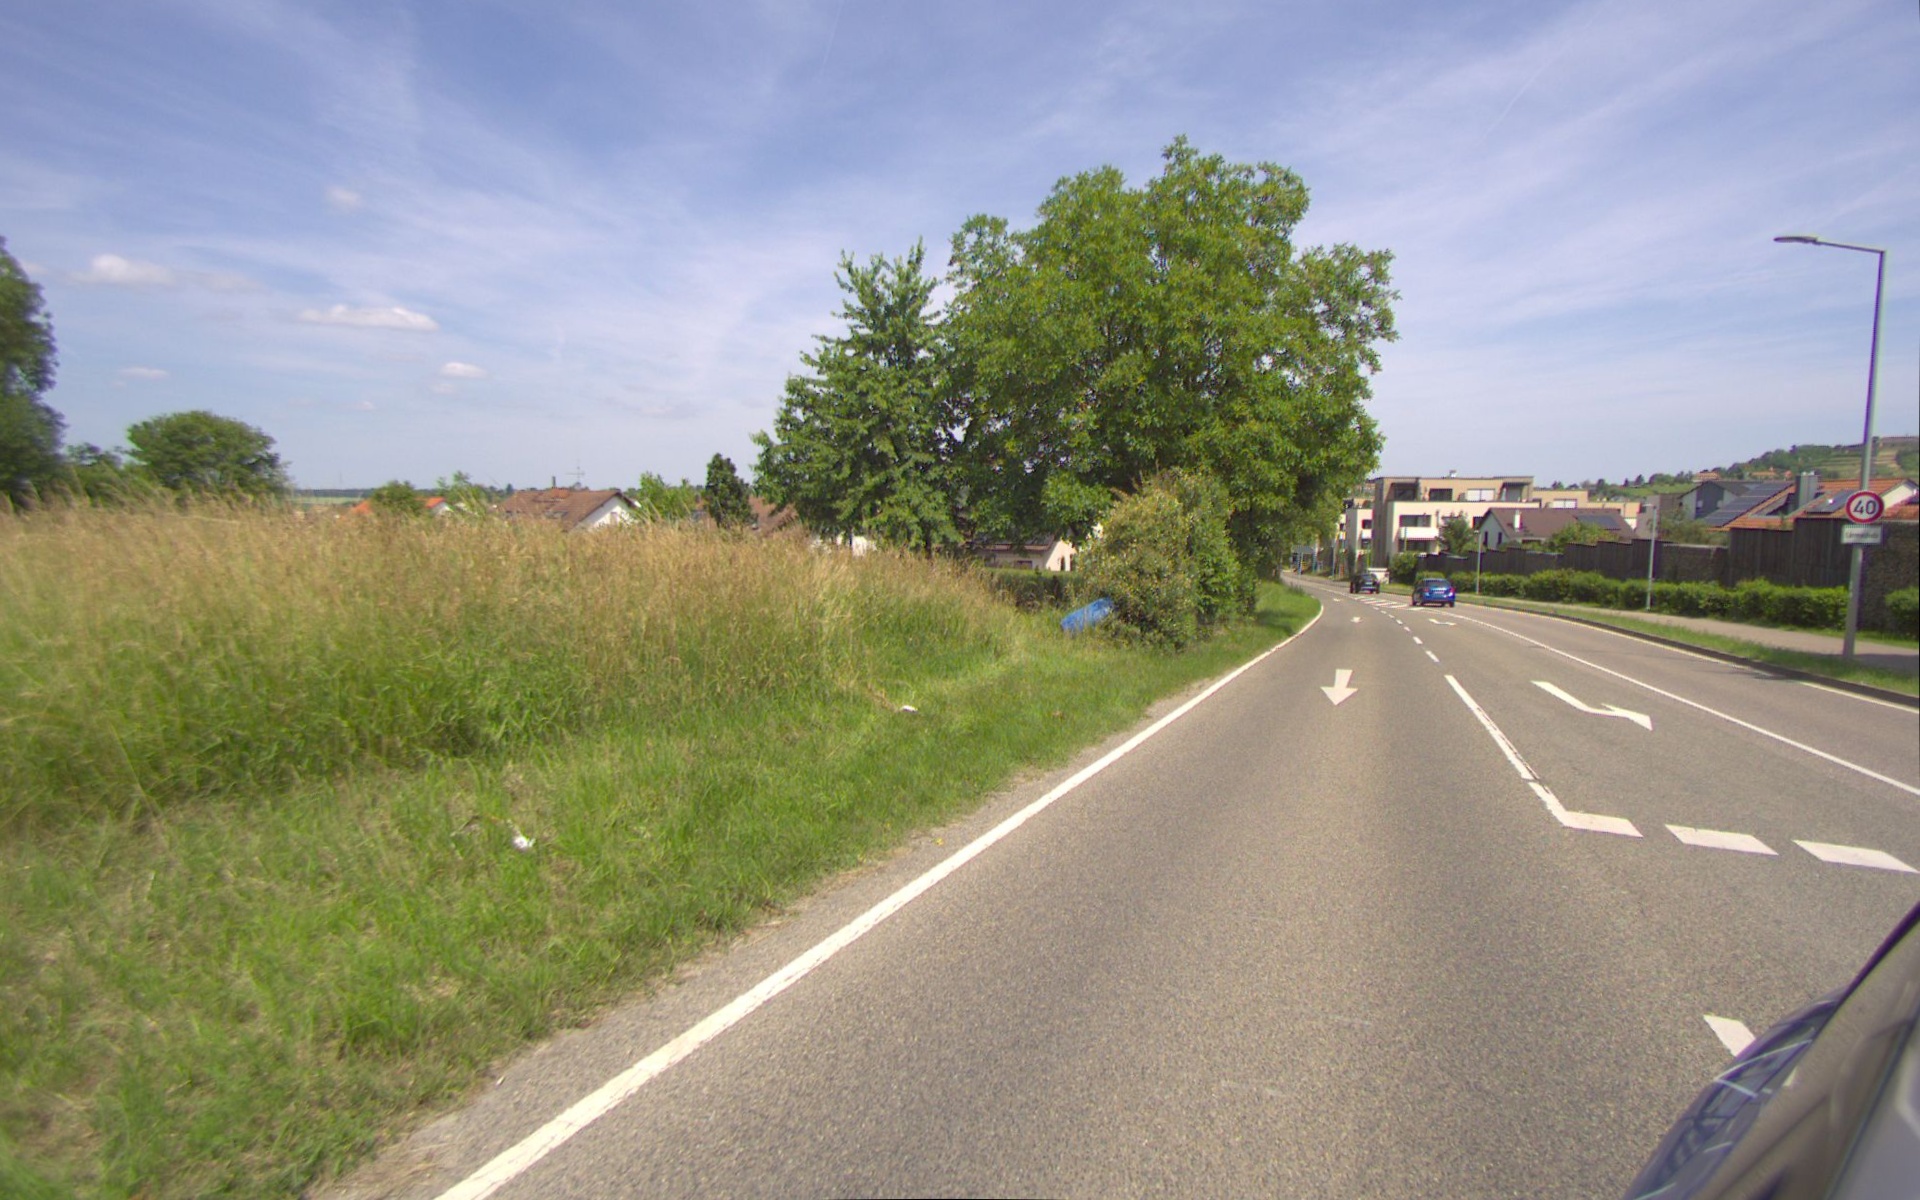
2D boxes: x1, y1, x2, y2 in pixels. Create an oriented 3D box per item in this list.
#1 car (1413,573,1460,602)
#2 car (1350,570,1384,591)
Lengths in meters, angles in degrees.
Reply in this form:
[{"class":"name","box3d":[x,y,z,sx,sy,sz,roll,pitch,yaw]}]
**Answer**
[{"class":"car","box3d":[25.612,-0.667,54.527,1.590,1.511,3.832,0,1,14]},{"class":"car","box3d":[32.914,-1.599,81.886,1.802,1.600,3.986,2,2,12]}]
